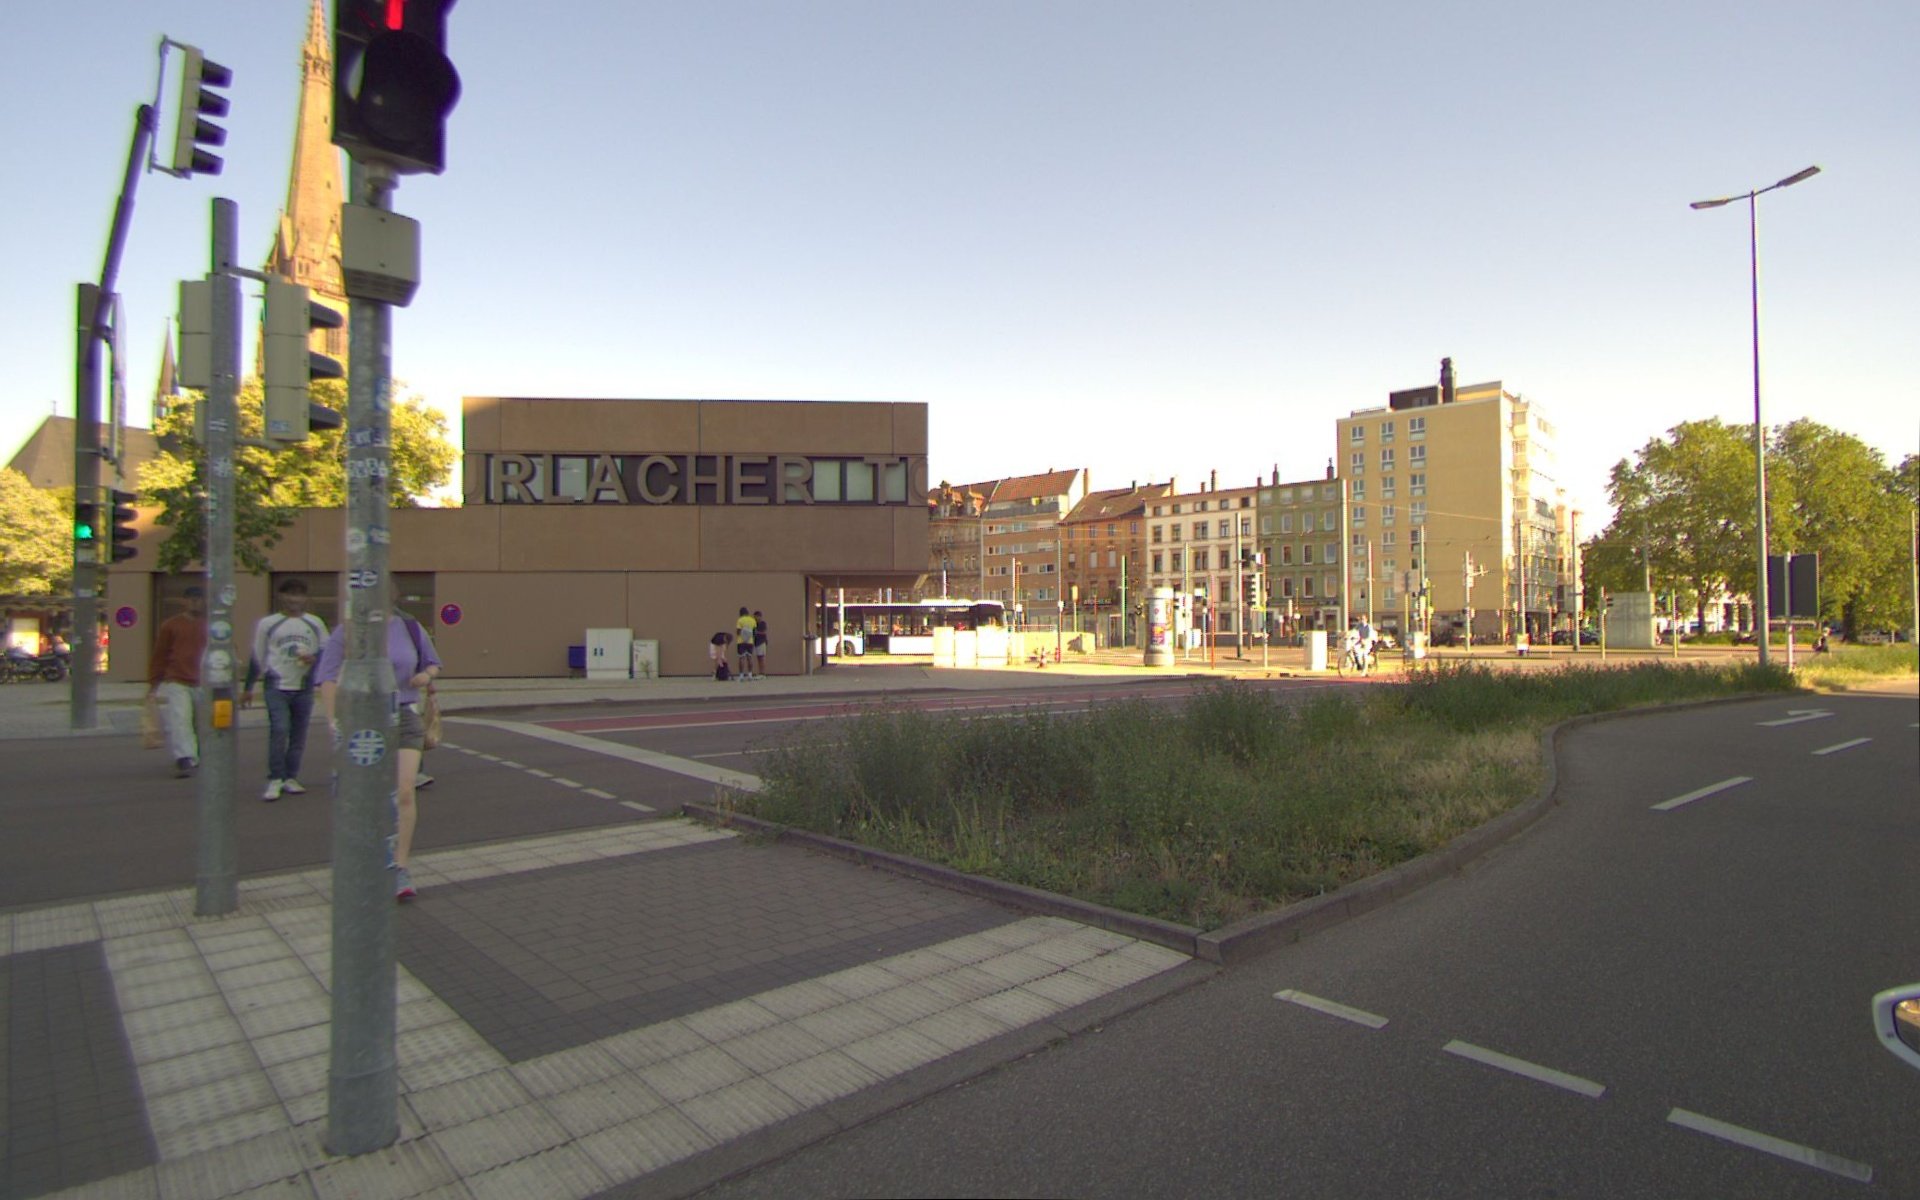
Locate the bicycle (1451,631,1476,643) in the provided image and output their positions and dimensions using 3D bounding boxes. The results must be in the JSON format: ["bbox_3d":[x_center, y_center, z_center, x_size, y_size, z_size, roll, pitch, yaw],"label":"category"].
[{"bbox_3d":[47.743,3.501,95.231,2.019,1.104,0.773,-2,-2,41],"label":"bicycle"}]

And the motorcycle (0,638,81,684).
[{"bbox_3d":[-27.361,1.784,29.532,2.311,1.264,0.719,-1,0,-3],"label":"motorcycle"}]

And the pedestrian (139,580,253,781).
[{"bbox_3d":[-7.163,0.725,9.410,0.781,1.764,0.917,1,-2,-40],"label":"pedestrian"}]

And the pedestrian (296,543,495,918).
[{"bbox_3d":[-3.010,0.632,5.341,0.751,1.764,0.917,1,-2,-40],"label":"pedestrian"}]

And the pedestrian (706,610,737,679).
[{"bbox_3d":[-6.179,1.143,26.057,0.652,1.754,0.736,-1,0,-5],"label":"pedestrian"}]

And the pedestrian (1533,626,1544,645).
[{"bbox_3d":[53.586,3.278,93.022,0.767,1.698,0.778,-1,-2,43],"label":"pedestrian"}]

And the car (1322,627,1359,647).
[{"bbox_3d":[35.655,3.446,94.210,2.045,1.742,4.010,-1,0,1],"label":"car"}]

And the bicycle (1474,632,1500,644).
[{"bbox_3d":[48.868,3.515,93.089,2.019,1.104,0.773,-2,-2,41],"label":"bicycle"}]

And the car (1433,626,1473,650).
[{"bbox_3d":[43.017,3.279,87.727,1.815,1.882,4.002,-1,0,6],"label":"car"}]

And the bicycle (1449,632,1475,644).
[{"bbox_3d":[47.245,3.546,94.512,2.019,1.104,0.773,-2,-2,41],"label":"bicycle"}]

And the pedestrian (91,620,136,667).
[{"bbox_3d":[-38.597,1.975,45.821,1.009,2.040,1.135,-1,0,3],"label":"pedestrian"}]

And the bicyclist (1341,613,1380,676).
[{"bbox_3d":[11.981,1.329,30.020,1.006,1.856,0.733,2,-2,-43],"label":"bicyclist"}]

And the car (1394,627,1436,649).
[{"bbox_3d":[40.526,3.336,89.567,1.803,1.771,3.999,-1,0,-1],"label":"car"}]

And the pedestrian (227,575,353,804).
[{"bbox_3d":[-5.564,0.706,8.337,0.751,1.764,0.917,1,-2,-40],"label":"pedestrian"}]

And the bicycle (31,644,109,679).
[{"bbox_3d":[-27.847,1.924,31.440,1.814,1.057,0.522,0,0,-8],"label":"bicycle"}]

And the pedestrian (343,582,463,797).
[{"bbox_3d":[-4.923,0.756,8.875,0.751,1.764,0.917,1,-2,-40],"label":"pedestrian"}]

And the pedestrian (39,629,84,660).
[{"bbox_3d":[-40.835,2.008,45.674,1.058,1.367,1.053,-1,0,-2],"label":"pedestrian"}]

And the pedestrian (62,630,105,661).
[{"bbox_3d":[-40.885,2.108,46.861,1.058,1.367,1.053,-1,0,-2],"label":"pedestrian"}]

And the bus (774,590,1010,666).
[{"bbox_3d":[-3.535,1.541,53.181,11.955,3.359,3.250,2,-5,-4],"label":"bus"}]

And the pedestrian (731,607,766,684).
[{"bbox_3d":[-5.256,1.118,24.946,0.631,1.860,0.713,-1,0,-30],"label":"pedestrian"}]

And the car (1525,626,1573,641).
[{"bbox_3d":[59.366,3.403,101.272,3.938,1.441,1.806,-1,-2,38],"label":"car"}]

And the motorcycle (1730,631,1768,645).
[{"bbox_3d":[62.978,3.030,80.177,0.682,1.068,2.263,-1,0,-42],"label":"motorcycle"}]

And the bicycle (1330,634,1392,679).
[{"bbox_3d":[12.016,1.673,30.052,2.538,1.271,0.733,2,-2,-43],"label":"bicycle"}]

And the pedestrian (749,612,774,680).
[{"bbox_3d":[-5.091,1.178,25.810,0.541,1.711,0.637,-1,0,-17],"label":"pedestrian"}]

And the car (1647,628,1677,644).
[{"bbox_3d":[67.318,3.400,96.312,1.827,1.471,3.976,-1,-2,44],"label":"car"}]

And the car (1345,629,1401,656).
[{"bbox_3d":[32.620,3.341,79.381,3.691,2.040,1.990,-1,0,41],"label":"car"}]

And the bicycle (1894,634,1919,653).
[{"bbox_3d":[46.591,2.076,48.246,2.463,0.886,0.856,-1,0,39],"label":"bicycle"}]

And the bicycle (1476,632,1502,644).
[{"bbox_3d":[49.378,3.506,93.766,2.019,1.104,0.773,-2,-2,41],"label":"bicycle"}]

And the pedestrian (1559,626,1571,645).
[{"bbox_3d":[55.123,3.244,91.499,0.767,1.698,0.778,-1,-2,43],"label":"pedestrian"}]

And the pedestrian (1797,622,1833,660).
[{"bbox_3d":[37.534,1.797,44.089,0.693,1.628,1.083,-1,0,-40],"label":"pedestrian"}]

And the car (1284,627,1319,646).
[{"bbox_3d":[32.914,3.500,96.892,2.045,1.742,4.010,-1,0,1],"label":"car"}]

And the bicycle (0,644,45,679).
[{"bbox_3d":[-29.759,1.919,31.313,1.895,1.057,0.522,0,0,-6],"label":"bicycle"}]
